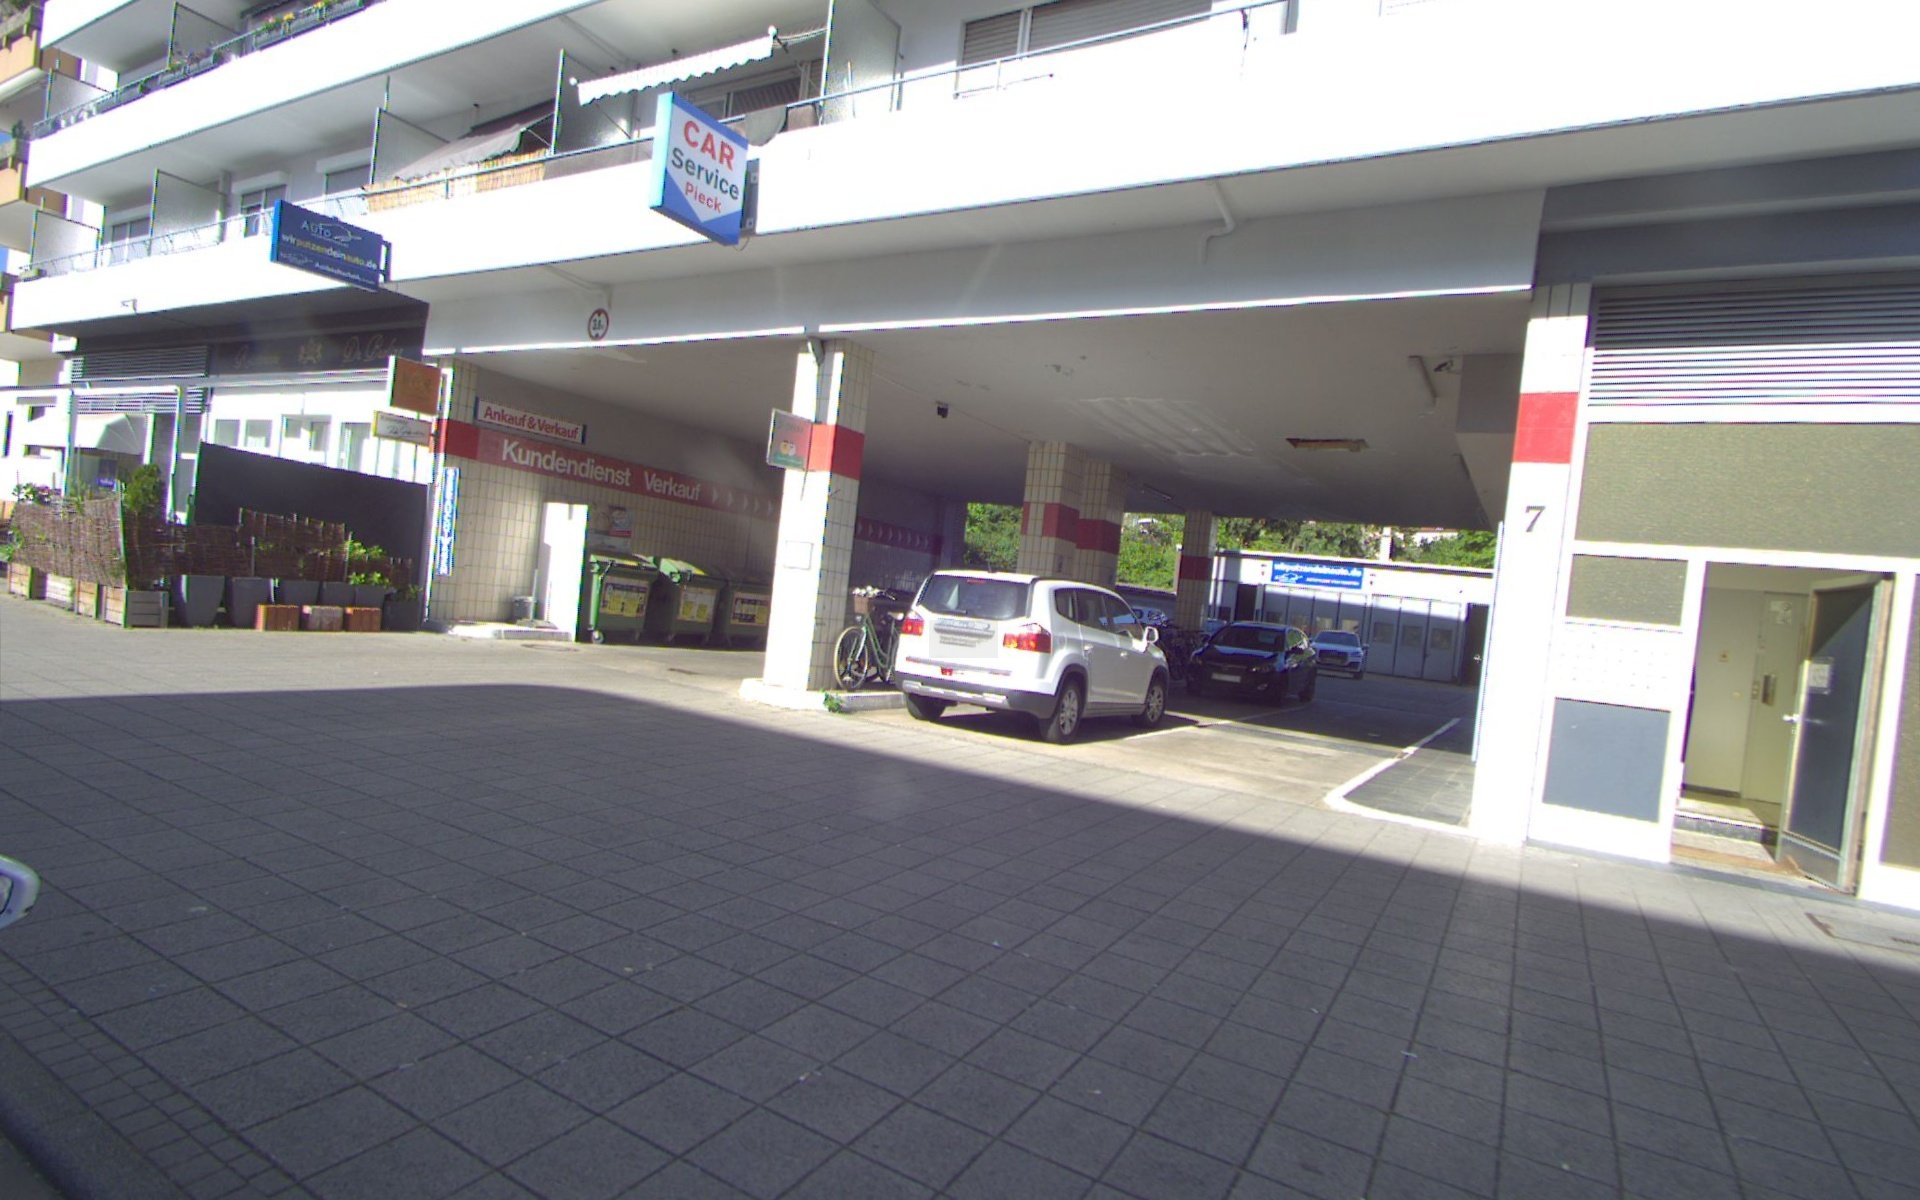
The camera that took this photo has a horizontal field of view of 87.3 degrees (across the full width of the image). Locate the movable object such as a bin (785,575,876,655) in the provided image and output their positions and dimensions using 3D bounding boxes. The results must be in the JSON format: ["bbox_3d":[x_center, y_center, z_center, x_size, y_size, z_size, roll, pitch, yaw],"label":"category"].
[{"bbox_3d":[-2.717,0.328,21.172,1.221,1.524,1.327,4,-1,32],"label":"movable object such as a bin"}]

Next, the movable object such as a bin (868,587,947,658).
[{"bbox_3d":[-1.220,0.543,23.610,1.221,1.524,1.327,4,-1,32],"label":"movable object such as a bin"}]

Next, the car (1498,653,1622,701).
[{"bbox_3d":[18.718,2.391,31.482,3.170,1.182,1.996,4,-2,31],"label":"car"}]

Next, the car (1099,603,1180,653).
[{"bbox_3d":[6.763,1.072,37.682,1.720,1.592,3.356,4,-2,34],"label":"car"}]

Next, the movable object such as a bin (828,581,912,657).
[{"bbox_3d":[-1.988,0.434,22.378,1.221,1.524,1.327,4,-1,32],"label":"movable object such as a bin"}]

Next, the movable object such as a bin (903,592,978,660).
[{"bbox_3d":[-0.475,0.655,24.939,1.221,1.524,1.327,4,-1,32],"label":"movable object such as a bin"}]

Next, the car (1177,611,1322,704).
[{"bbox_3d":[5.671,1.128,19.381,1.706,1.494,3.994,4,-2,30],"label":"car"}]

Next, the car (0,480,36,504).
[{"bbox_3d":[-86.054,-9.817,91.484,2.419,1.834,4.675,7,0,-37],"label":"car"}]

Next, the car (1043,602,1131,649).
[{"bbox_3d":[5.312,1.088,41.596,1.969,1.592,3.990,4,-2,34],"label":"car"}]

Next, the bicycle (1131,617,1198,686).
[{"bbox_3d":[4.205,1.074,20.540,0.562,1.249,2.088,4,-3,32],"label":"bicycle"}]

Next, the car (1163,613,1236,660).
[{"bbox_3d":[8.909,1.384,37.212,1.727,1.459,3.997,4,-2,26],"label":"car"}]

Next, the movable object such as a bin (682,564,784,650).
[{"bbox_3d":[-4.200,0.136,18.653,1.166,1.436,1.292,4,-1,33],"label":"movable object such as a bin"}]

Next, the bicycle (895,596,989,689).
[{"bbox_3d":[-0.204,0.583,13.211,0.458,1.122,1.589,4,-2,27],"label":"bicycle"}]

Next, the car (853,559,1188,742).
[{"bbox_3d":[0.921,0.550,11.471,1.946,1.531,4.396,6,0,30],"label":"car"}]

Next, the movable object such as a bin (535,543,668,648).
[{"bbox_3d":[-5.738,-0.054,16.169,1.244,1.518,1.464,4,-1,30],"label":"movable object such as a bin"}]

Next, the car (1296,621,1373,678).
[{"bbox_3d":[12.634,1.699,33.799,1.883,1.605,3.997,7,-1,26],"label":"car"}]

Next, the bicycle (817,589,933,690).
[{"bbox_3d":[-0.960,0.487,11.762,0.459,1.090,1.568,4,-2,31],"label":"bicycle"}]

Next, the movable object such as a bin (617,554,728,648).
[{"bbox_3d":[-4.970,0.030,17.421,1.143,1.484,1.332,4,-1,31],"label":"movable object such as a bin"}]

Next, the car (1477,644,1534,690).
[{"bbox_3d":[23.151,2.861,42.739,1.883,1.605,3.995,7,-1,28],"label":"car"}]

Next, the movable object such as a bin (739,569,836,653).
[{"bbox_3d":[-3.410,0.225,19.944,1.221,1.524,1.327,4,-1,31],"label":"movable object such as a bin"}]
